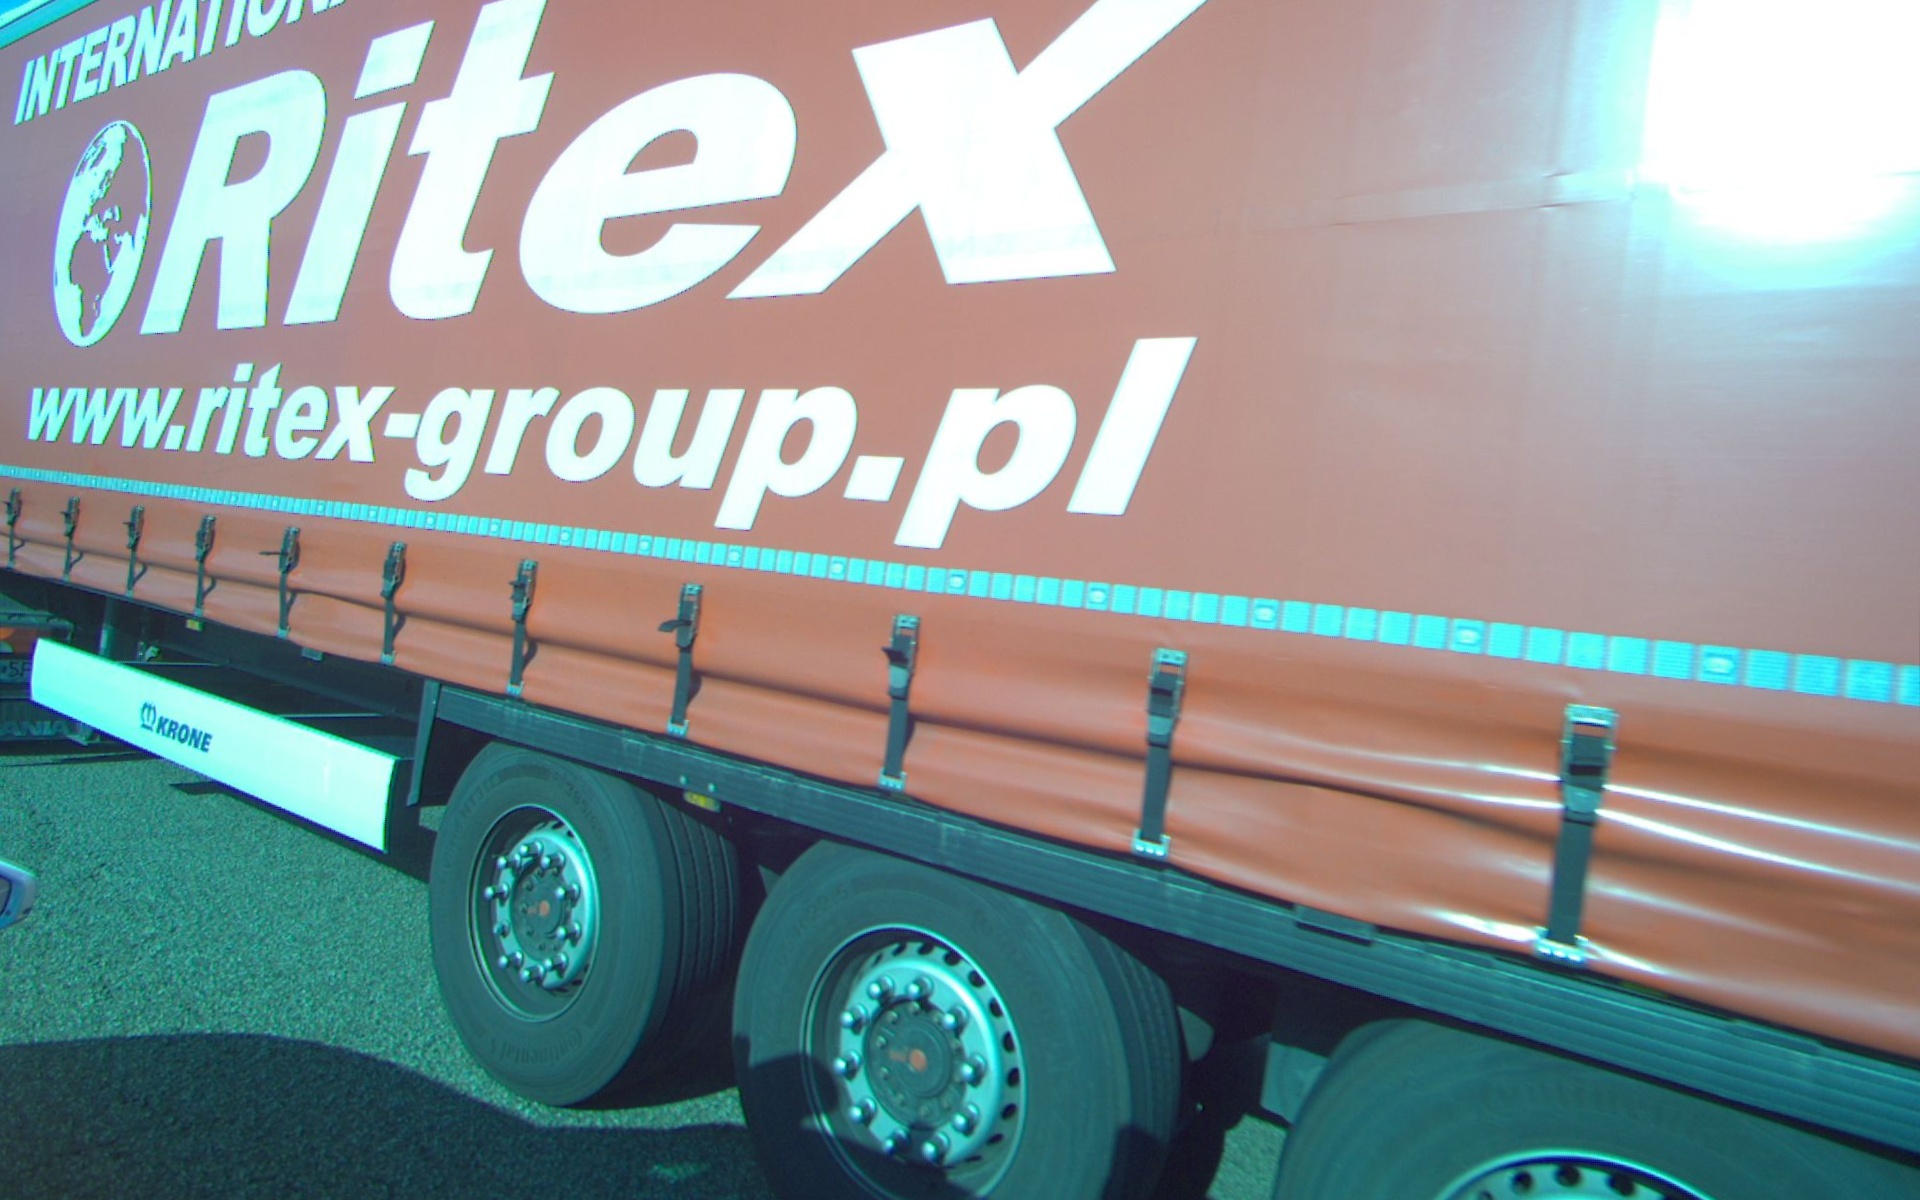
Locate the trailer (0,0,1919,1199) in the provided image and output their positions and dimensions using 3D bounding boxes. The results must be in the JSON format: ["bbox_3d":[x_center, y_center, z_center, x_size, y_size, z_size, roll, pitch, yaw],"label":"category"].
[{"bbox_3d":[-1.709,-0.726,4.202,14.062,4.045,2.332,6,0,32],"label":"trailer"}]

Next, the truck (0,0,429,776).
[{"bbox_3d":[-7.019,-1.310,7.484,6.005,4.070,2.368,6,0,32],"label":"truck"}]

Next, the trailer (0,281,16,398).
[{"bbox_3d":[-17.145,-2.559,14.082,10.989,3.980,2.651,7,-1,32],"label":"trailer"}]
